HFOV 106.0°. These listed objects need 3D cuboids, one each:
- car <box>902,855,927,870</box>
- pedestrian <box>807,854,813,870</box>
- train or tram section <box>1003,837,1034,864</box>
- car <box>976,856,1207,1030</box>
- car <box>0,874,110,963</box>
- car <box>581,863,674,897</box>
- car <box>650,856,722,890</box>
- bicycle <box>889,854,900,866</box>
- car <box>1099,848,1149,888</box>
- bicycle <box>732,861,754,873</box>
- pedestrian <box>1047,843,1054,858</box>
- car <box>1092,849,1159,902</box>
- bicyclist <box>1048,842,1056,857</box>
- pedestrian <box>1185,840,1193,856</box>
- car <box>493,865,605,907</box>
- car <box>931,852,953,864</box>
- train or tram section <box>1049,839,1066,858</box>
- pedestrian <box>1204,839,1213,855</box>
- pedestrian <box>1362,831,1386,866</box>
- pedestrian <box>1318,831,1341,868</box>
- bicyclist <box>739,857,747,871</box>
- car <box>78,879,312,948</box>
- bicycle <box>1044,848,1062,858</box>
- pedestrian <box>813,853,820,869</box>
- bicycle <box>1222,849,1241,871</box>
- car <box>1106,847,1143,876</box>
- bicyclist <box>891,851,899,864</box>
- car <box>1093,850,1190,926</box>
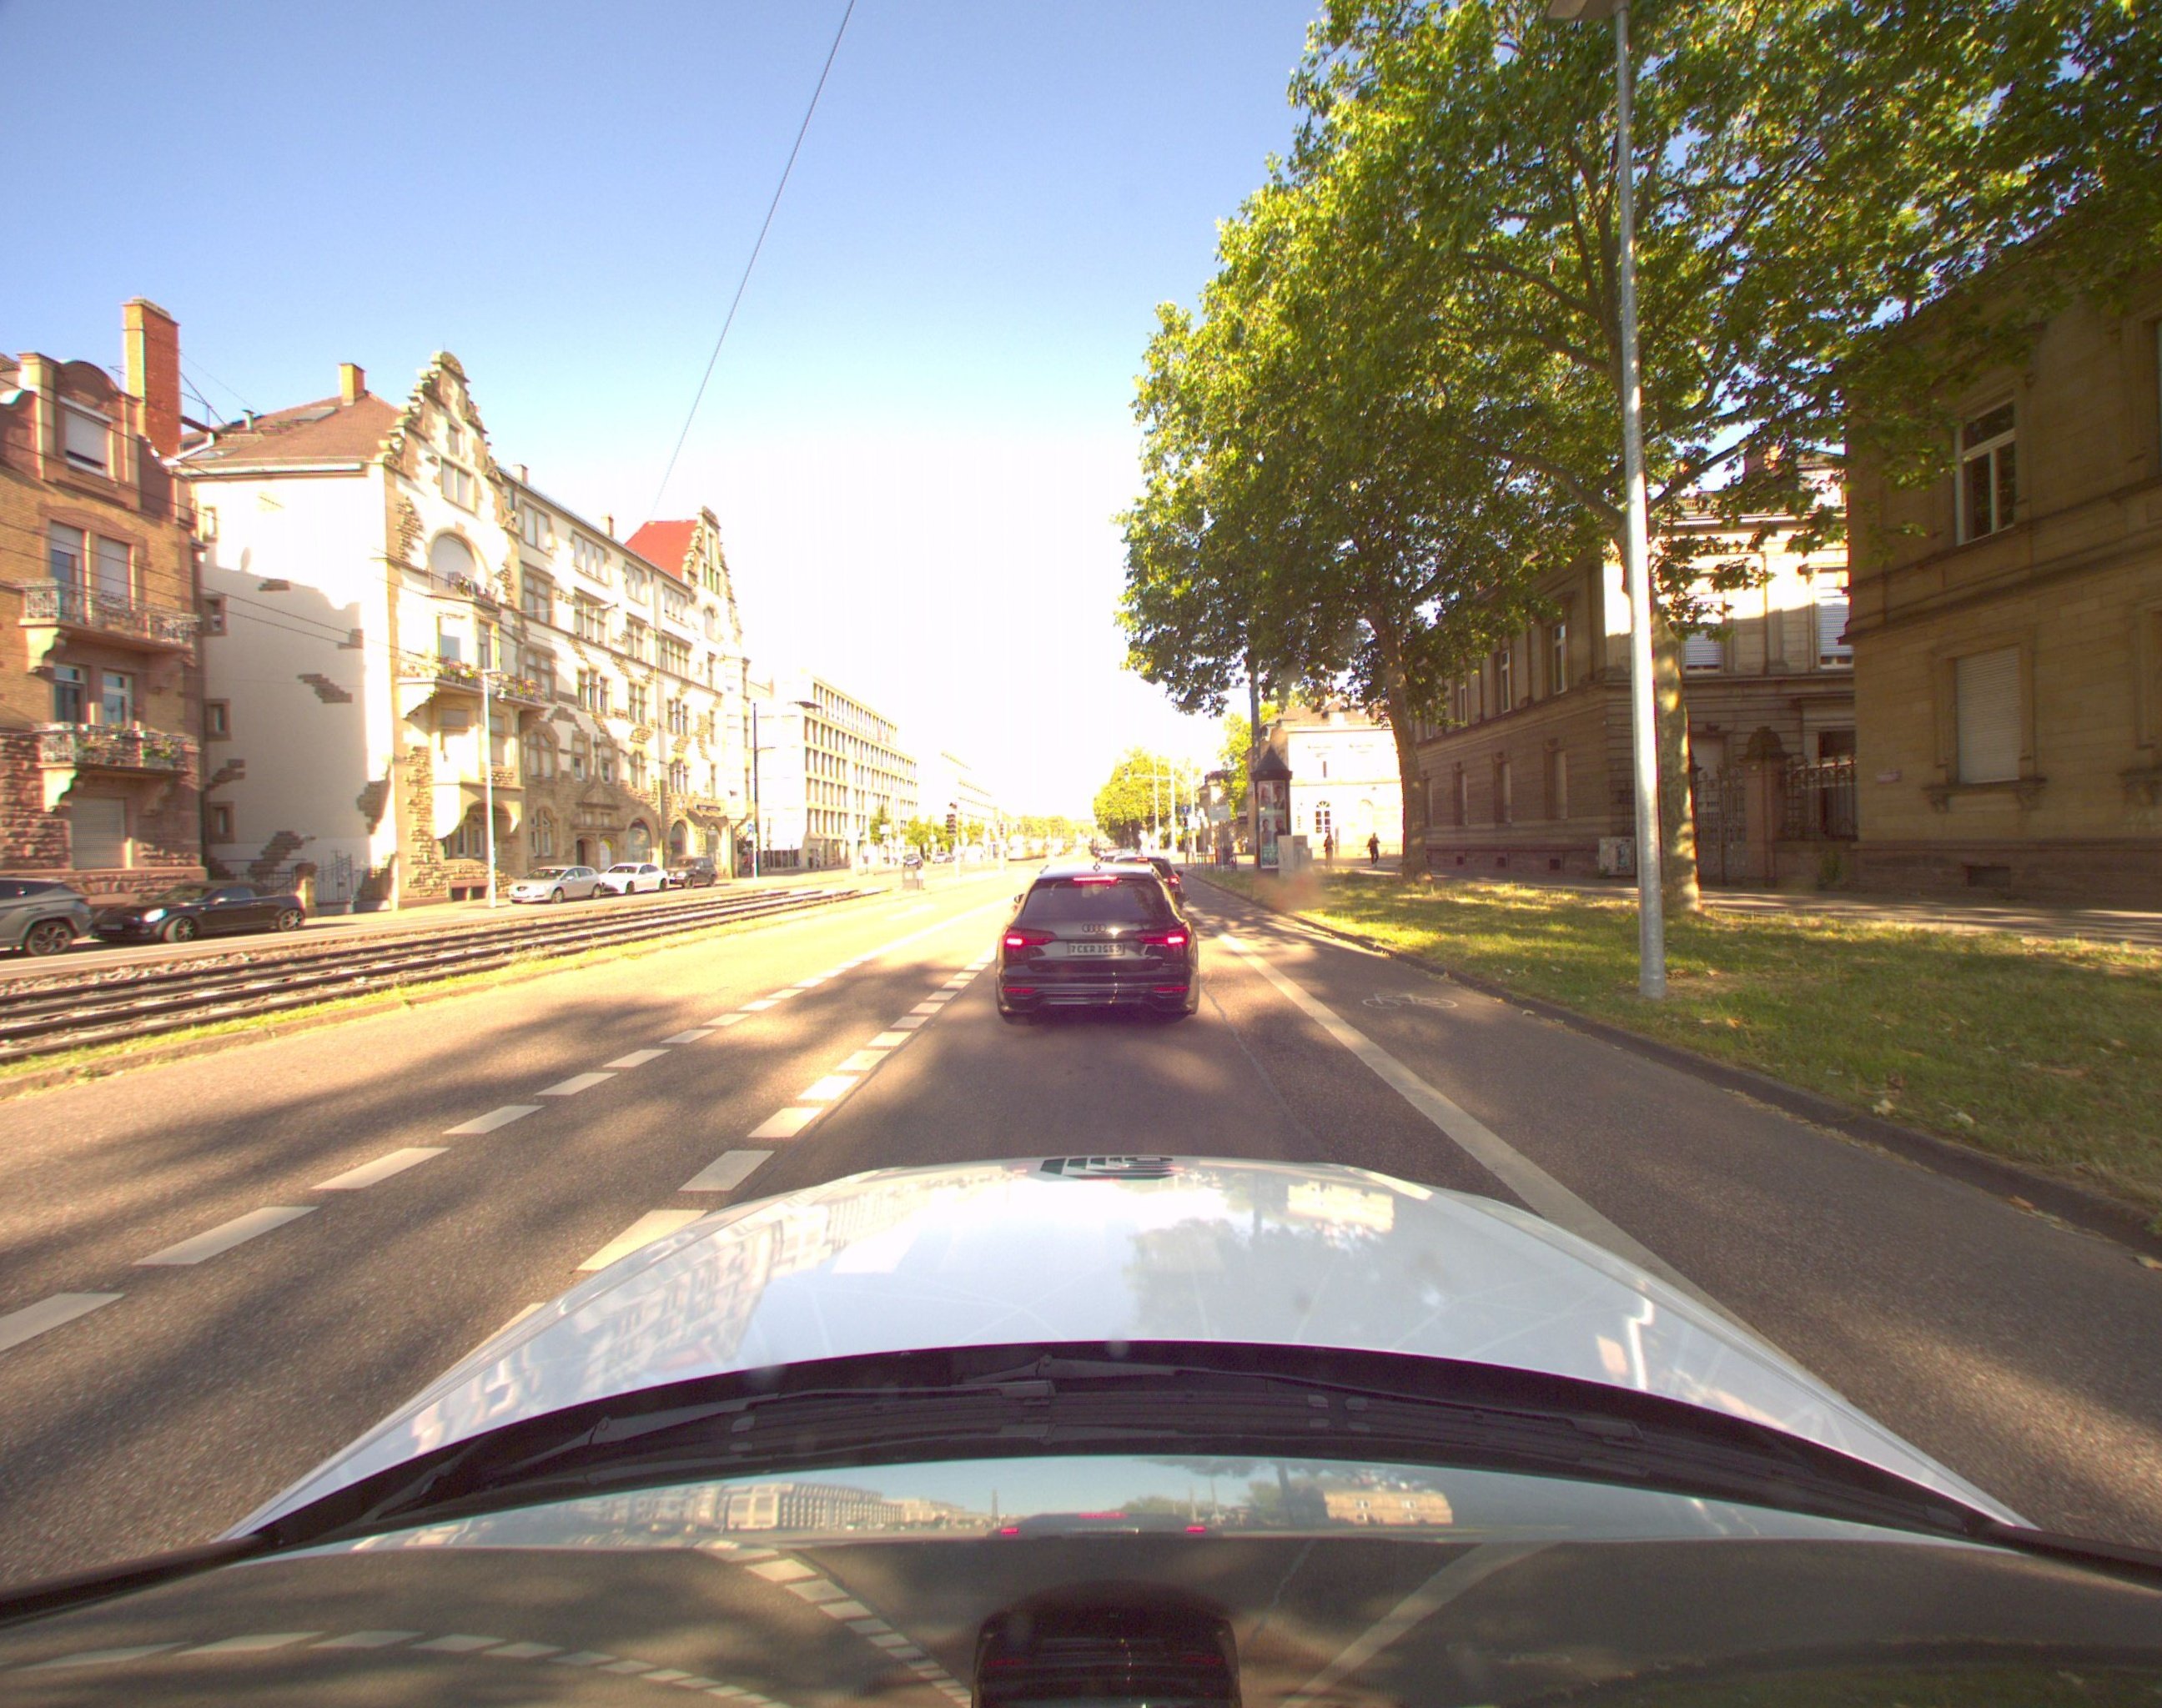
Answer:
[{"bbox_3d":[-18.224,0.886,89.247,1.814,1.457,4.165,-2,0,0],"label":"car"},{"bbox_3d":[-31.630,0.894,94.971,0.475,1.843,0.438,-2,0,-36],"label":"pedestrian"},{"bbox_3d":[-8.830,-0.558,116.770,2.802,3.489,13.211,-2,0,2],"label":"train or tram section"},{"bbox_3d":[0.178,0.742,8.805,1.895,1.421,4.147,-1,0,3],"label":"car"},{"bbox_3d":[-21.755,1.282,15.162,1.849,1.622,4.504,1,1,1],"label":"car"},{"bbox_3d":[-21.223,1.174,38.324,1.711,1.423,4.656,0,1,1],"label":"car"},{"bbox_3d":[-21.070,0.983,43.621,1.711,1.675,4.217,0,1,0],"label":"car"},{"bbox_3d":[-22.239,0.758,97.205,0.682,1.381,1.949,-2,0,3],"label":"bicycle"},{"bbox_3d":[1.735,0.542,33.254,1.895,1.486,4.147,-1,0,3],"label":"car"},{"bbox_3d":[-39.728,1.523,95.736,2.372,1.215,0.577,-2,0,1],"label":"bicycle"},{"bbox_3d":[-3.766,-0.435,100.779,0.742,1.741,0.659,-2,0,-20],"label":"pedestrian"},{"bbox_3d":[1.383,0.623,25.575,1.895,1.486,4.147,-1,0,3],"label":"car"},{"bbox_3d":[-3.549,-0.570,99.236,0.760,1.818,0.759,-2,0,-23],"label":"bicyclist"},{"bbox_3d":[10.802,-0.602,81.610,0.679,1.660,0.758,-2,0,0],"label":"pedestrian"},{"bbox_3d":[-21.182,1.232,32.653,1.704,1.430,4.223,0,1,0],"label":"car"},{"bbox_3d":[-18.539,0.489,108.803,1.812,1.457,4.544,-2,0,3],"label":"car"},{"bbox_3d":[-4.285,-1.058,151.982,2.600,3.450,11.132,-2,1,0],"label":"train or tram section"},{"bbox_3d":[15.446,-0.851,98.650,0.975,1.865,0.827,-2,0,1],"label":"pedestrian"},{"bbox_3d":[13.732,-0.264,38.212,0.766,1.606,0.987,-2,0,3],"label":"pedestrian"},{"bbox_3d":[11.742,-0.205,38.534,0.766,1.709,1.043,-2,0,3],"label":"pedestrian"},{"bbox_3d":[-39.696,1.189,95.727,0.639,1.686,0.577,-2,0,1],"label":"bicyclist"},{"bbox_3d":[-21.521,1.381,20.029,1.616,1.354,3.727,1,1,1],"label":"car"},{"bbox_3d":[-3.402,-0.111,99.318,2.014,1.108,0.759,-2,0,-24],"label":"bicycle"},{"bbox_3d":[-30.942,0.834,95.221,0.535,1.843,0.438,-2,0,-36],"label":"pedestrian"},{"bbox_3d":[7.347,0.281,39.734,0.538,1.061,1.770,-2,0,-1],"label":"bicycle"},{"bbox_3d":[2.337,0.401,43.893,1.895,1.486,4.147,-1,0,3],"label":"car"},{"bbox_3d":[-22.177,0.432,97.308,0.682,1.562,0.786,-2,0,3],"label":"bicyclist"},{"bbox_3d":[1.302,0.684,18.249,1.895,1.486,4.147,-1,0,3],"label":"car"}]
